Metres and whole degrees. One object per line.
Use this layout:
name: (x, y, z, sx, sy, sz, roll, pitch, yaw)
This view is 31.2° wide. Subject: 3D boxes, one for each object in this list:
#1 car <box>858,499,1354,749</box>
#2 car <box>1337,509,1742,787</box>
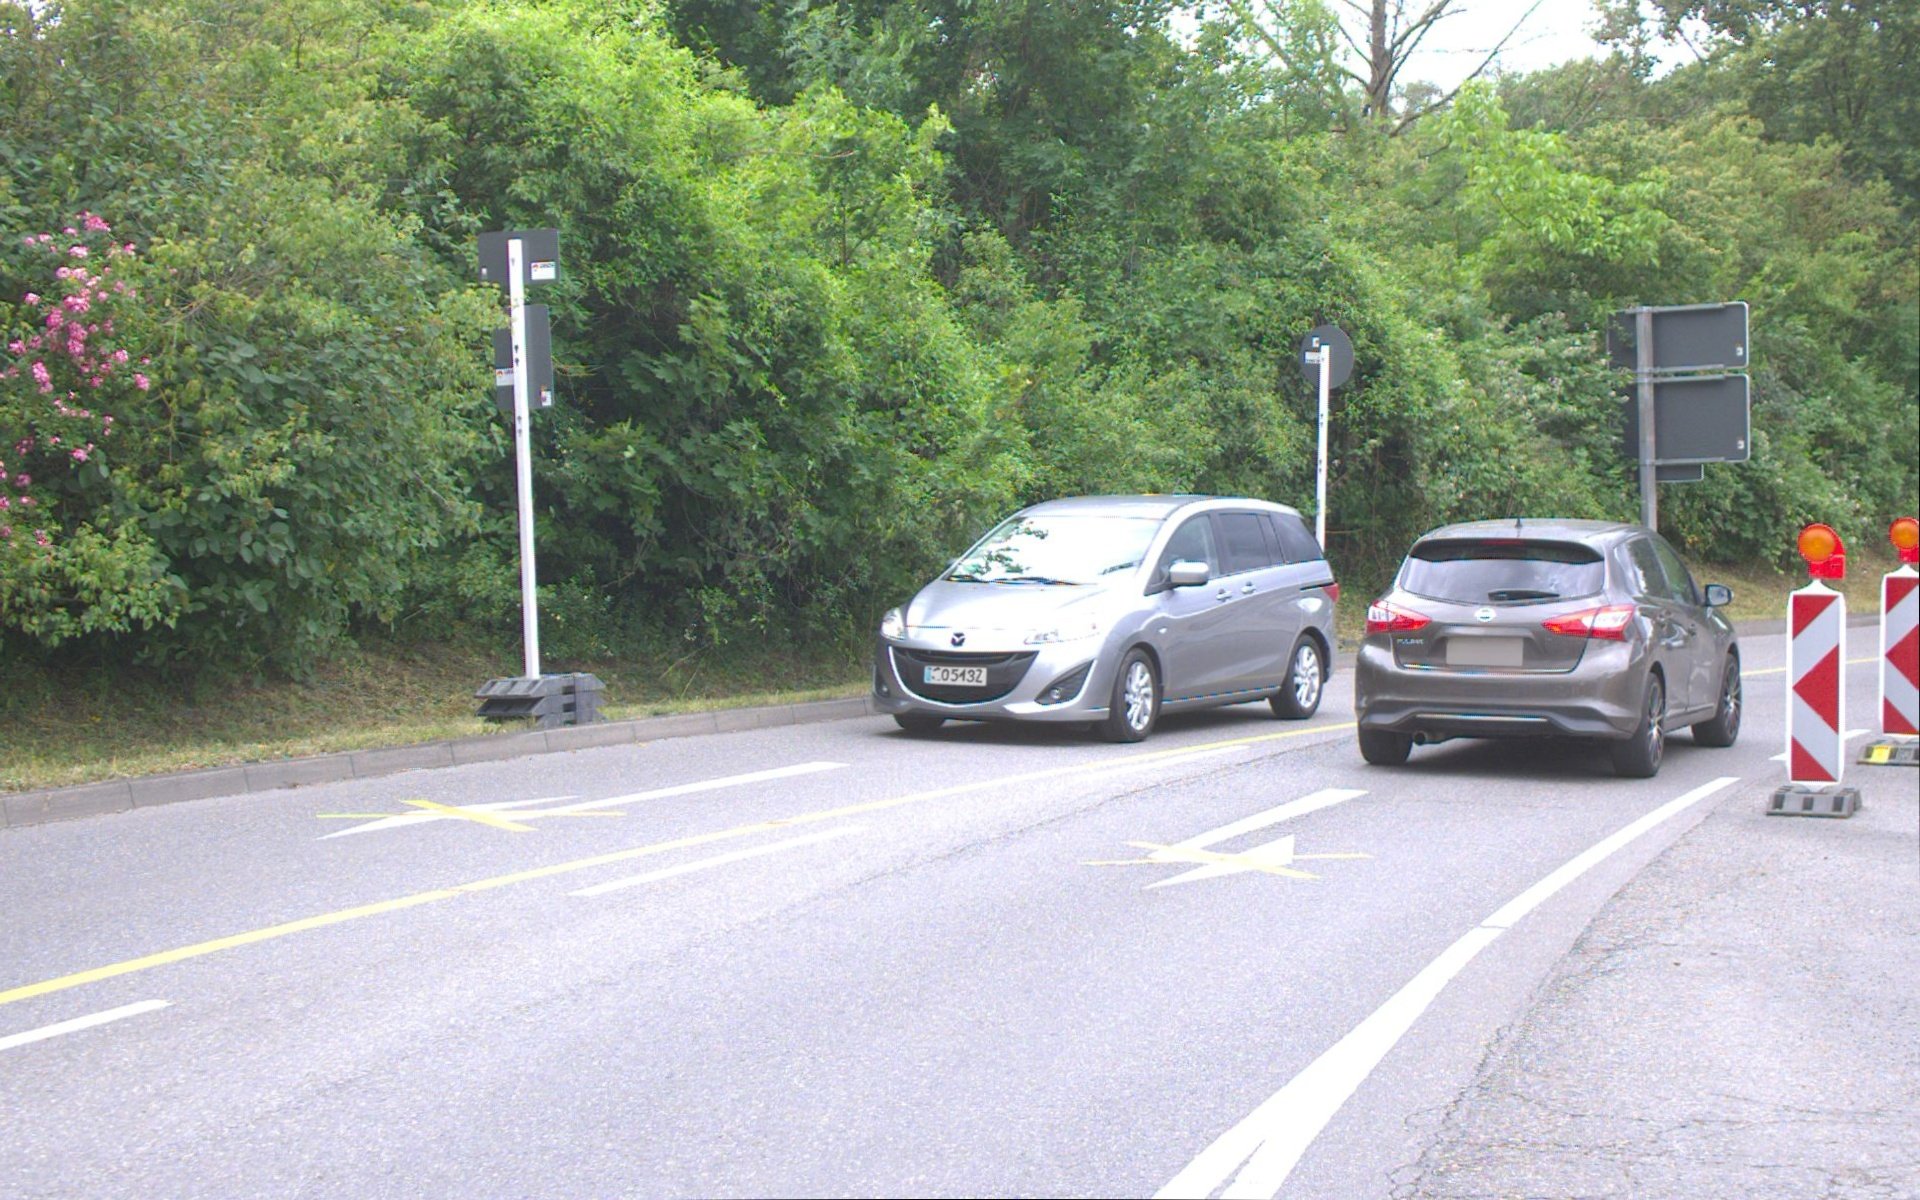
car: (1.110, 0.106, 23.619, 1.635, 1.539, 4.344, 1, 1, 29)
car: (3.763, 0.216, 21.789, 1.799, 1.546, 3.996, 1, 2, 20)
